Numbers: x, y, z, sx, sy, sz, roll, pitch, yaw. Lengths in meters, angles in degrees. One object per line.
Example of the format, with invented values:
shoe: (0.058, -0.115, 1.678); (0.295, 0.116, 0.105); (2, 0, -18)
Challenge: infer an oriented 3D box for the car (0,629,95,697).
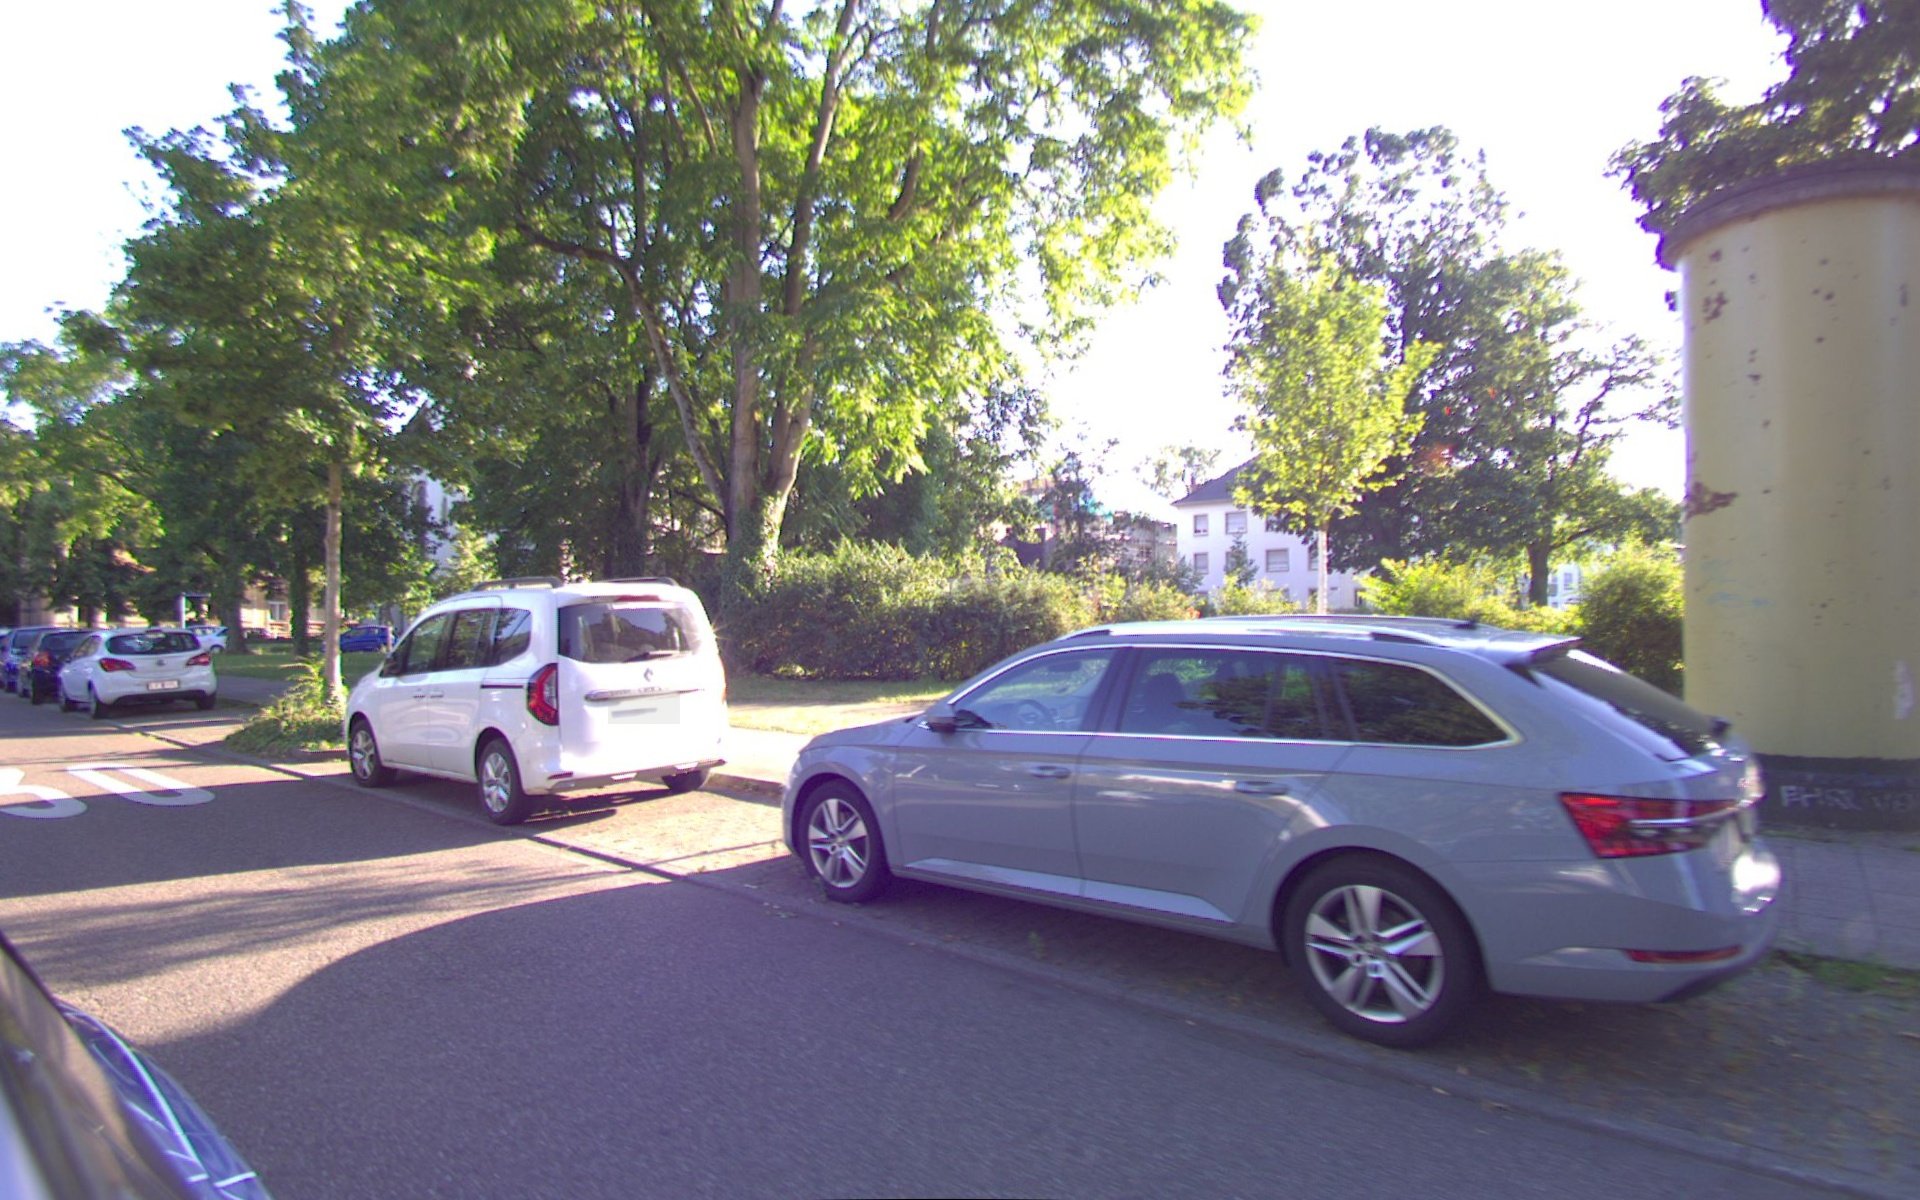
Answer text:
car: (-22.514, 1.476, 24.672); (3.677, 1.521, 1.694); (-2, -2, 42)

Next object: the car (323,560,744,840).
car: (-3.954, 0.722, 9.016); (4.236, 1.931, 1.739); (-2, 0, 41)

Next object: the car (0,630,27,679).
car: (-31.432, 1.728, 32.571); (3.677, 1.521, 1.694); (-2, -2, 42)

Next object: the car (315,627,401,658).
car: (-31.320, 2.186, 52.735); (3.514, 1.509, 1.680); (0, -1, -15)

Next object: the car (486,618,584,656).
car: (-22.977, 1.989, 54.881); (4.692, 1.931, 1.802); (0, -1, -15)

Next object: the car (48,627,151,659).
car: (-42.582, 2.099, 50.141); (3.514, 1.509, 1.694); (0, -1, -15)

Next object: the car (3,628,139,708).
car: (-18.729, 1.364, 21.271); (3.677, 1.521, 1.694); (-2, -2, 41)

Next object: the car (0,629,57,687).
car: (-26.715, 1.599, 28.369); (3.677, 1.521, 1.694); (-2, -2, 42)

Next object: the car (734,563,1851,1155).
car: (1.116, 0.746, 4.988); (4.835, 1.570, 1.842); (-2, -2, 41)

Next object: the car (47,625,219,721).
car: (-14.684, 1.225, 17.927); (3.305, 1.521, 1.695); (-2, -2, 38)

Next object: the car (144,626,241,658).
car: (-38.567, 2.099, 50.930); (3.514, 1.509, 1.694); (0, -1, -15)
